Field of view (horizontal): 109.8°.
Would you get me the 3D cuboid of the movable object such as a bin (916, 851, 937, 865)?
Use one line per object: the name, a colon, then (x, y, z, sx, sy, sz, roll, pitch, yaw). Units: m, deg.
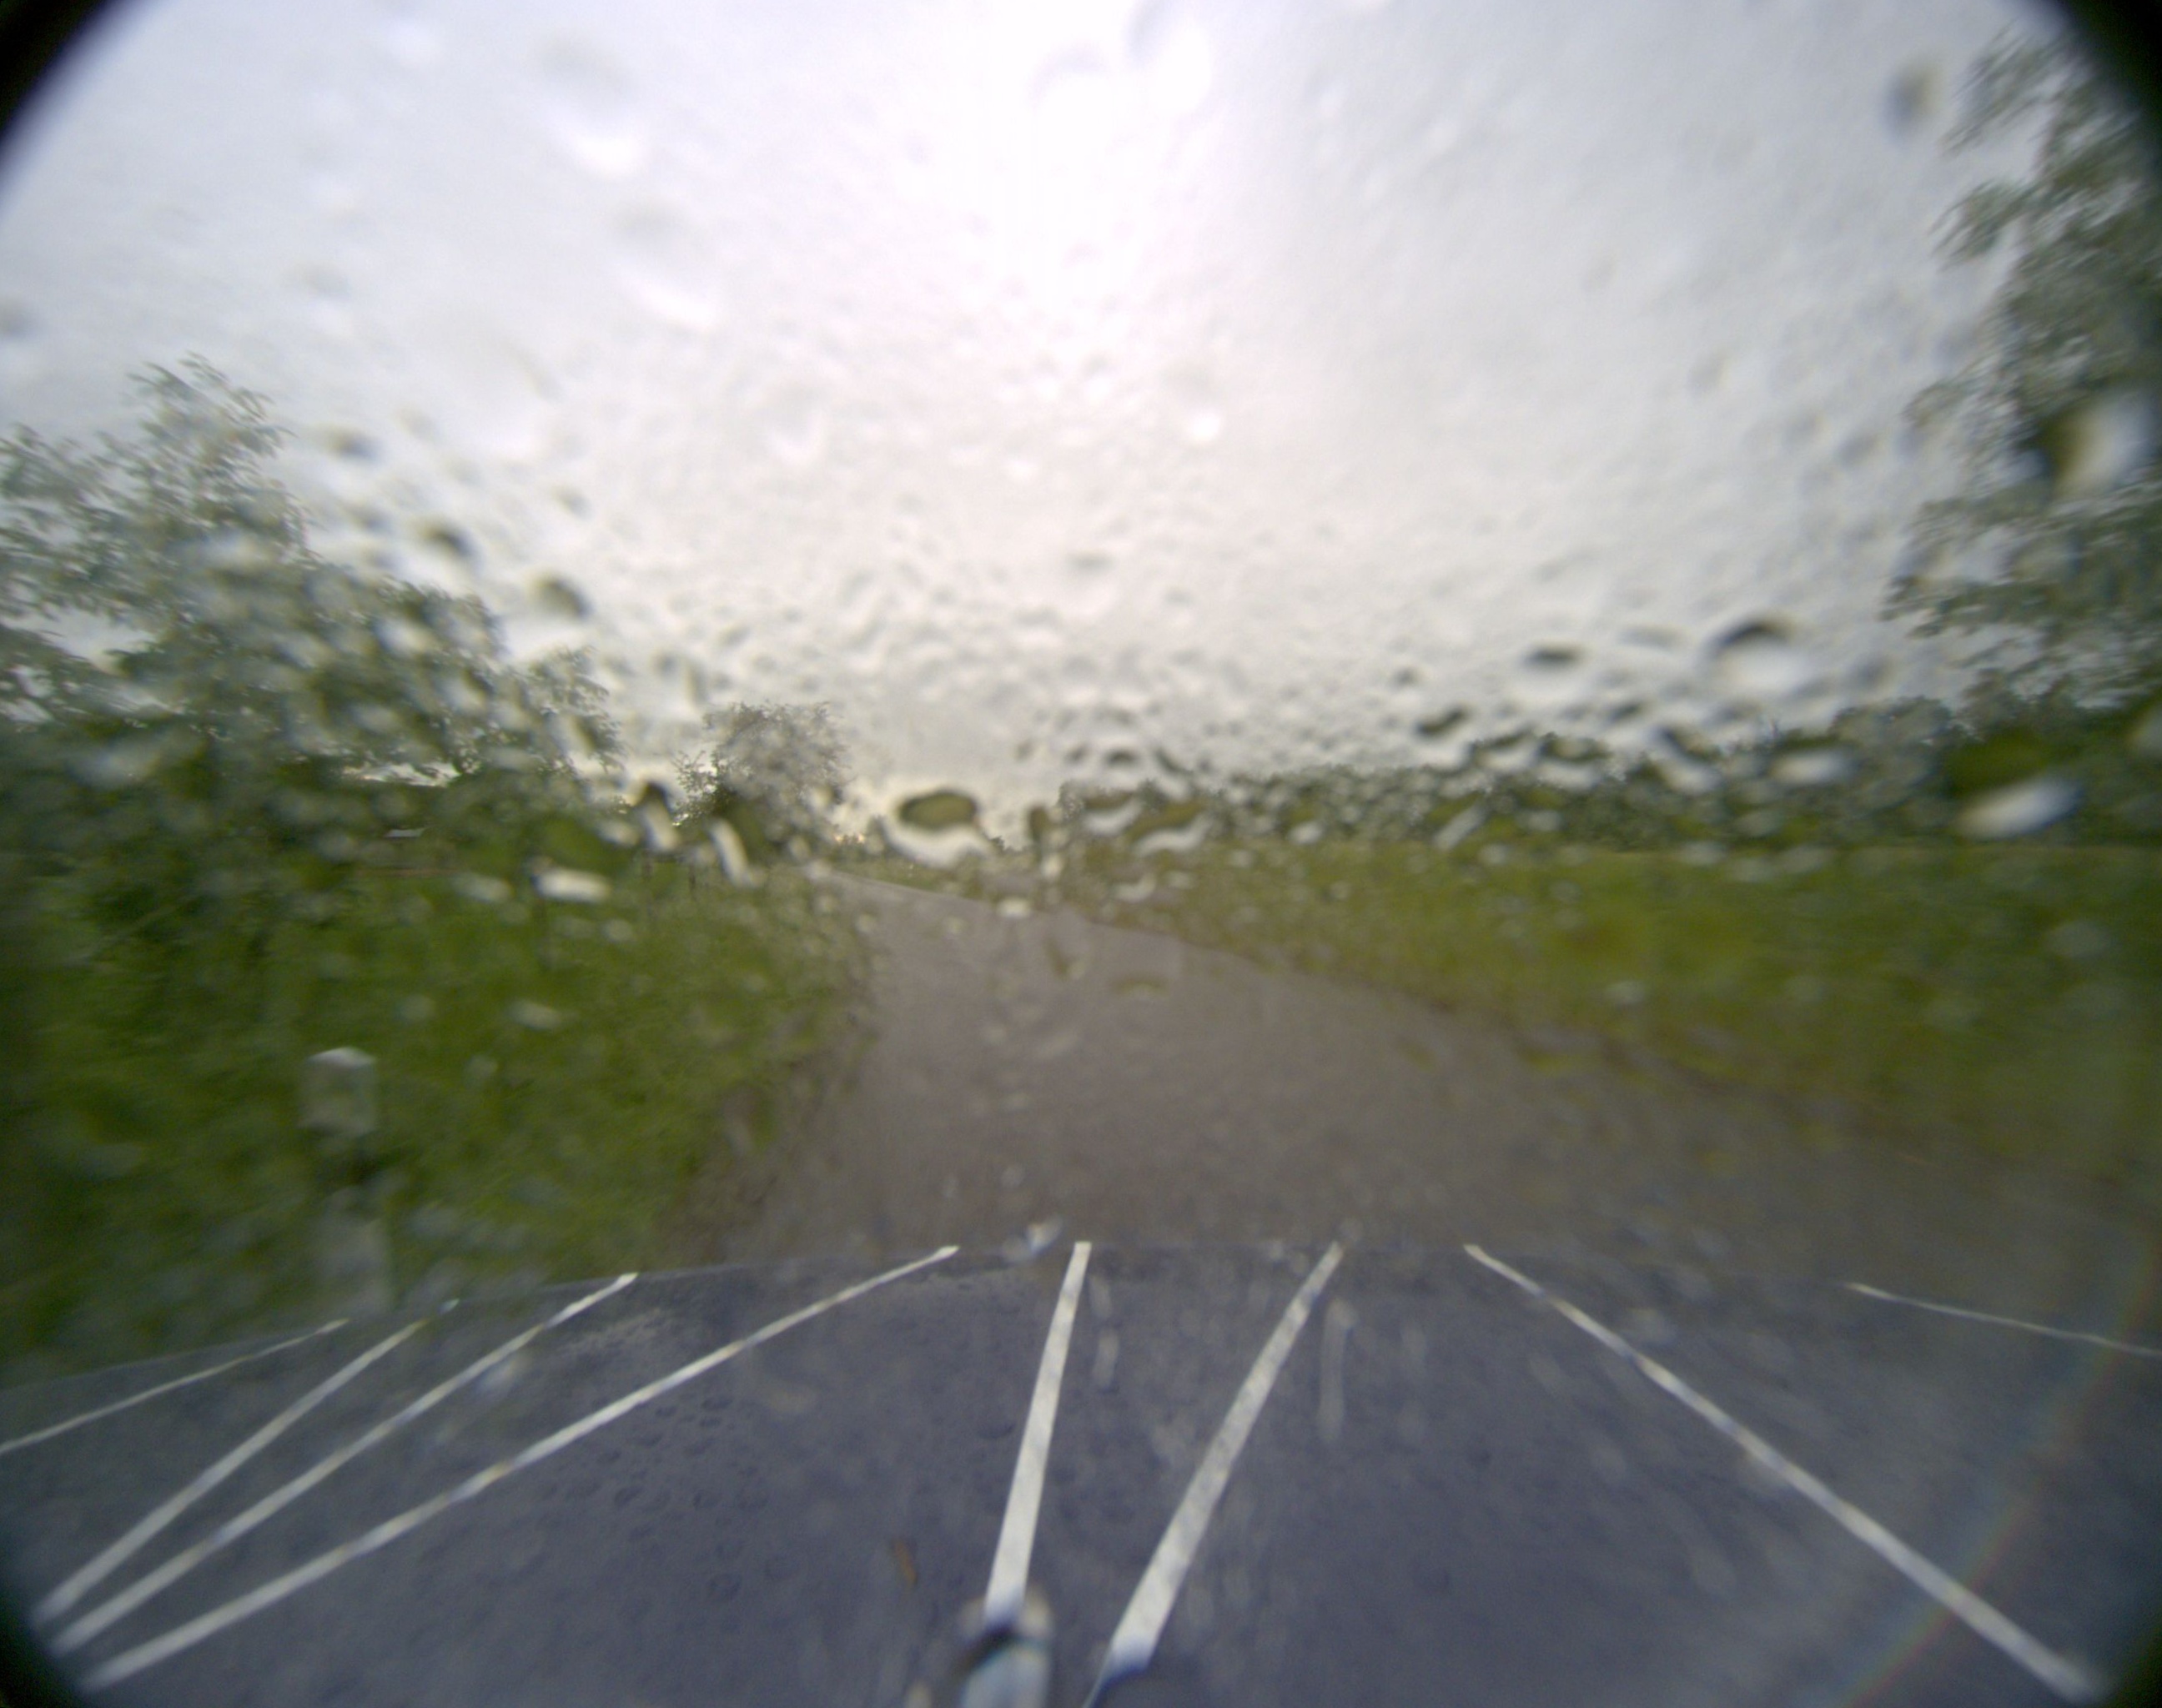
movable object such as a bin: (-18.419, 0.494, 90.503, 1.686, 1.562, 3.531, -1, 1, -23)
